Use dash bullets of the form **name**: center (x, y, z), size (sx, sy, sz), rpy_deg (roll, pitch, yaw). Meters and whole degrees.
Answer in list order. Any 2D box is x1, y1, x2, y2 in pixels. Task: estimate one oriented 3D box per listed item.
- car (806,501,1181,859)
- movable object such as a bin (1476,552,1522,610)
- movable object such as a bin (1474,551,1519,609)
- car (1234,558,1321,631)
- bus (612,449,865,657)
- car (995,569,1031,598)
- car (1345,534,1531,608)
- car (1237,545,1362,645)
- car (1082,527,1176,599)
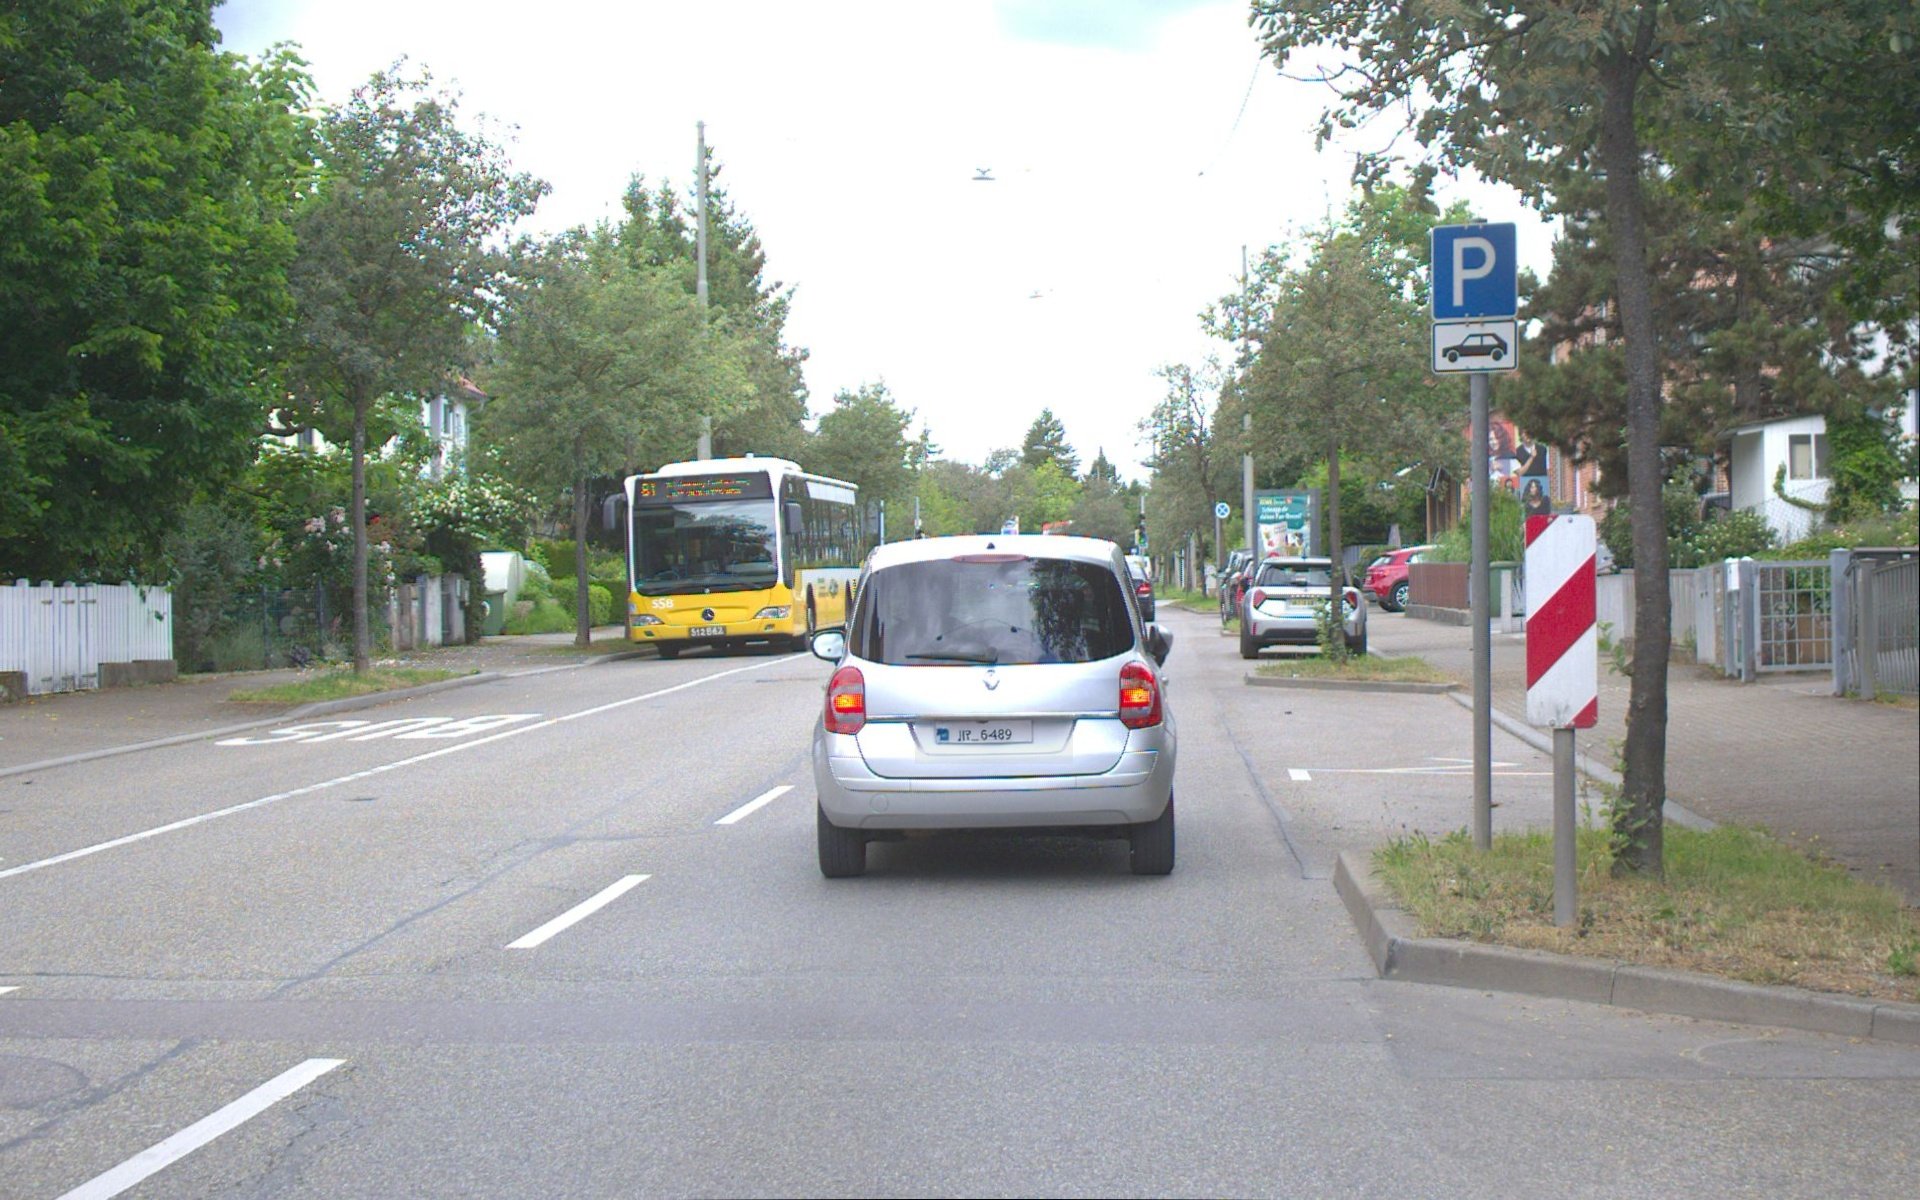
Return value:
- **car**: center (0.246, 0.360, 17.152), size (1.630, 1.551, 3.999), rpy_deg (1, 0, 3)
- **movable object such as a bin**: center (10.335, -0.362, 65.948), size (0.776, 1.100, 0.691), rpy_deg (-1, 1, 3)
- **movable object such as a bin**: center (10.412, -0.396, 66.702), size (0.776, 1.100, 0.691), rpy_deg (-1, 1, 3)
- **car**: center (6.299, -0.120, 68.115), size (1.663, 1.388, 3.667), rpy_deg (0, 1, 5)
- **bus**: center (-3.536, -0.794, 58.281), size (2.632, 3.075, 12.068), rpy_deg (-2, 1, 4)
- **car**: center (3.053, -0.928, 198.165), size (1.905, 1.612, 4.000), rpy_deg (0, 0, -2)
- **car**: center (11.304, -0.678, 81.486), size (3.986, 1.491, 1.810), rpy_deg (-4, 1, -5)
- **car**: center (4.832, -0.059, 49.271), size (1.650, 1.378, 3.999), rpy_deg (0, 0, 4)
- **car**: center (4.064, -0.882, 82.091), size (1.830, 1.670, 3.573), rpy_deg (-1, 0, 9)
